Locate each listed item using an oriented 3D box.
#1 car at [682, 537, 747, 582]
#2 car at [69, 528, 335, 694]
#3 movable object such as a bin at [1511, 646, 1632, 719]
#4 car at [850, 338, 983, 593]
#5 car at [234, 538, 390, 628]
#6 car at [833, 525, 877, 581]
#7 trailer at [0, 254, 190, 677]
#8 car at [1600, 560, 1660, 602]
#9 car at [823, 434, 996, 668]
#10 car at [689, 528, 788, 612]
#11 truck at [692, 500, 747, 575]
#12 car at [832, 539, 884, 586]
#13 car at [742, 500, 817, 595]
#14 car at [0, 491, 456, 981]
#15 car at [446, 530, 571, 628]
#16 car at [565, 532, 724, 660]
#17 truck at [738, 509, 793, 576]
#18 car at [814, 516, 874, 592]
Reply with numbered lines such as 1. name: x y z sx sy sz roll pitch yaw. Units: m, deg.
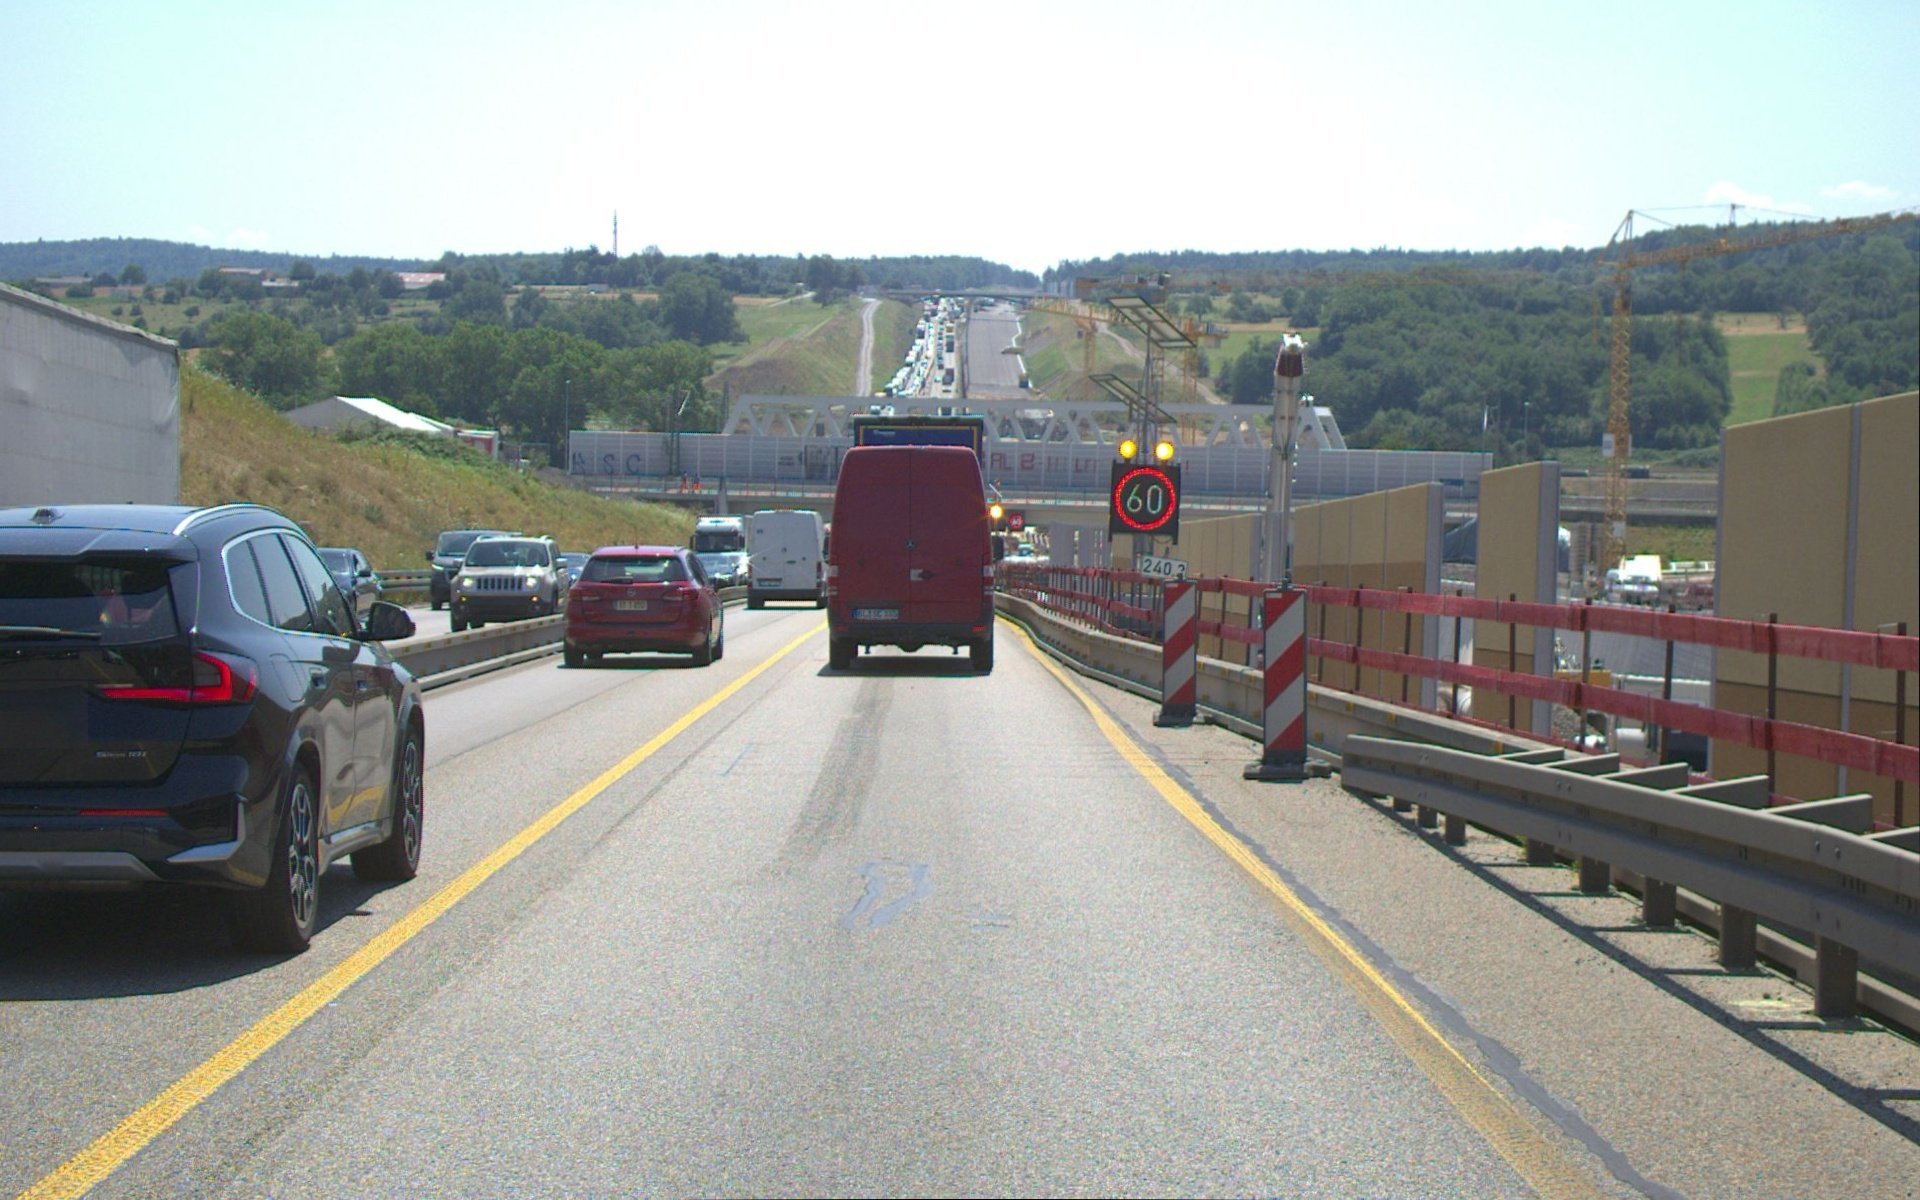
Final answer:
1. car: -8.548 -1.426 119.853 1.955 1.494 5.090 1 1 -1
2. car: -7.075 0.059 32.440 1.669 1.461 4.000 0 1 -1
3. movable object such as a bin: 23.566 3.141 132.863 3.163 2.437 7.895 2 1 0
4. car: -0.923 -2.726 72.828 2.621 5.015 10.397 0 1 -1
5. car: -11.397 -0.321 60.782 1.993 1.502 4.719 1 1 -2
6. car: -4.401 -1.984 144.327 1.776 2.322 4.206 0 1 -1
7. trailer: -10.876 -1.371 35.913 2.785 4.167 13.980 0 1 -1
8. car: 33.104 -0.975 170.018 1.805 2.007 4.826 1 1 -3
9. car: -0.608 -0.600 41.847 1.988 2.681 4.624 0 1 -1
10. car: -4.484 -0.638 70.123 1.839 1.648 4.165 0 1 -1
11. truck: -13.049 -3.397 186.825 2.698 4.036 3.955 1 1 -1
12. car: -3.663 -1.350 123.861 1.776 1.664 4.029 0 1 -1
13. car: -4.676 -1.368 89.469 1.776 2.433 4.206 0 1 -1
14. car: -3.235 0.414 13.573 1.879 1.612 4.499 0 1 -1
15. car: -7.899 -0.383 60.493 1.832 1.660 4.415 0 1 -3
16. car: -3.884 -0.083 42.897 1.775 1.512 4.206 0 1 -3
17. truck: -10.078 -2.983 178.264 2.538 3.362 7.038 1 1 -1
18. car: -3.609 -1.436 107.702 1.776 2.322 4.206 0 1 -1
